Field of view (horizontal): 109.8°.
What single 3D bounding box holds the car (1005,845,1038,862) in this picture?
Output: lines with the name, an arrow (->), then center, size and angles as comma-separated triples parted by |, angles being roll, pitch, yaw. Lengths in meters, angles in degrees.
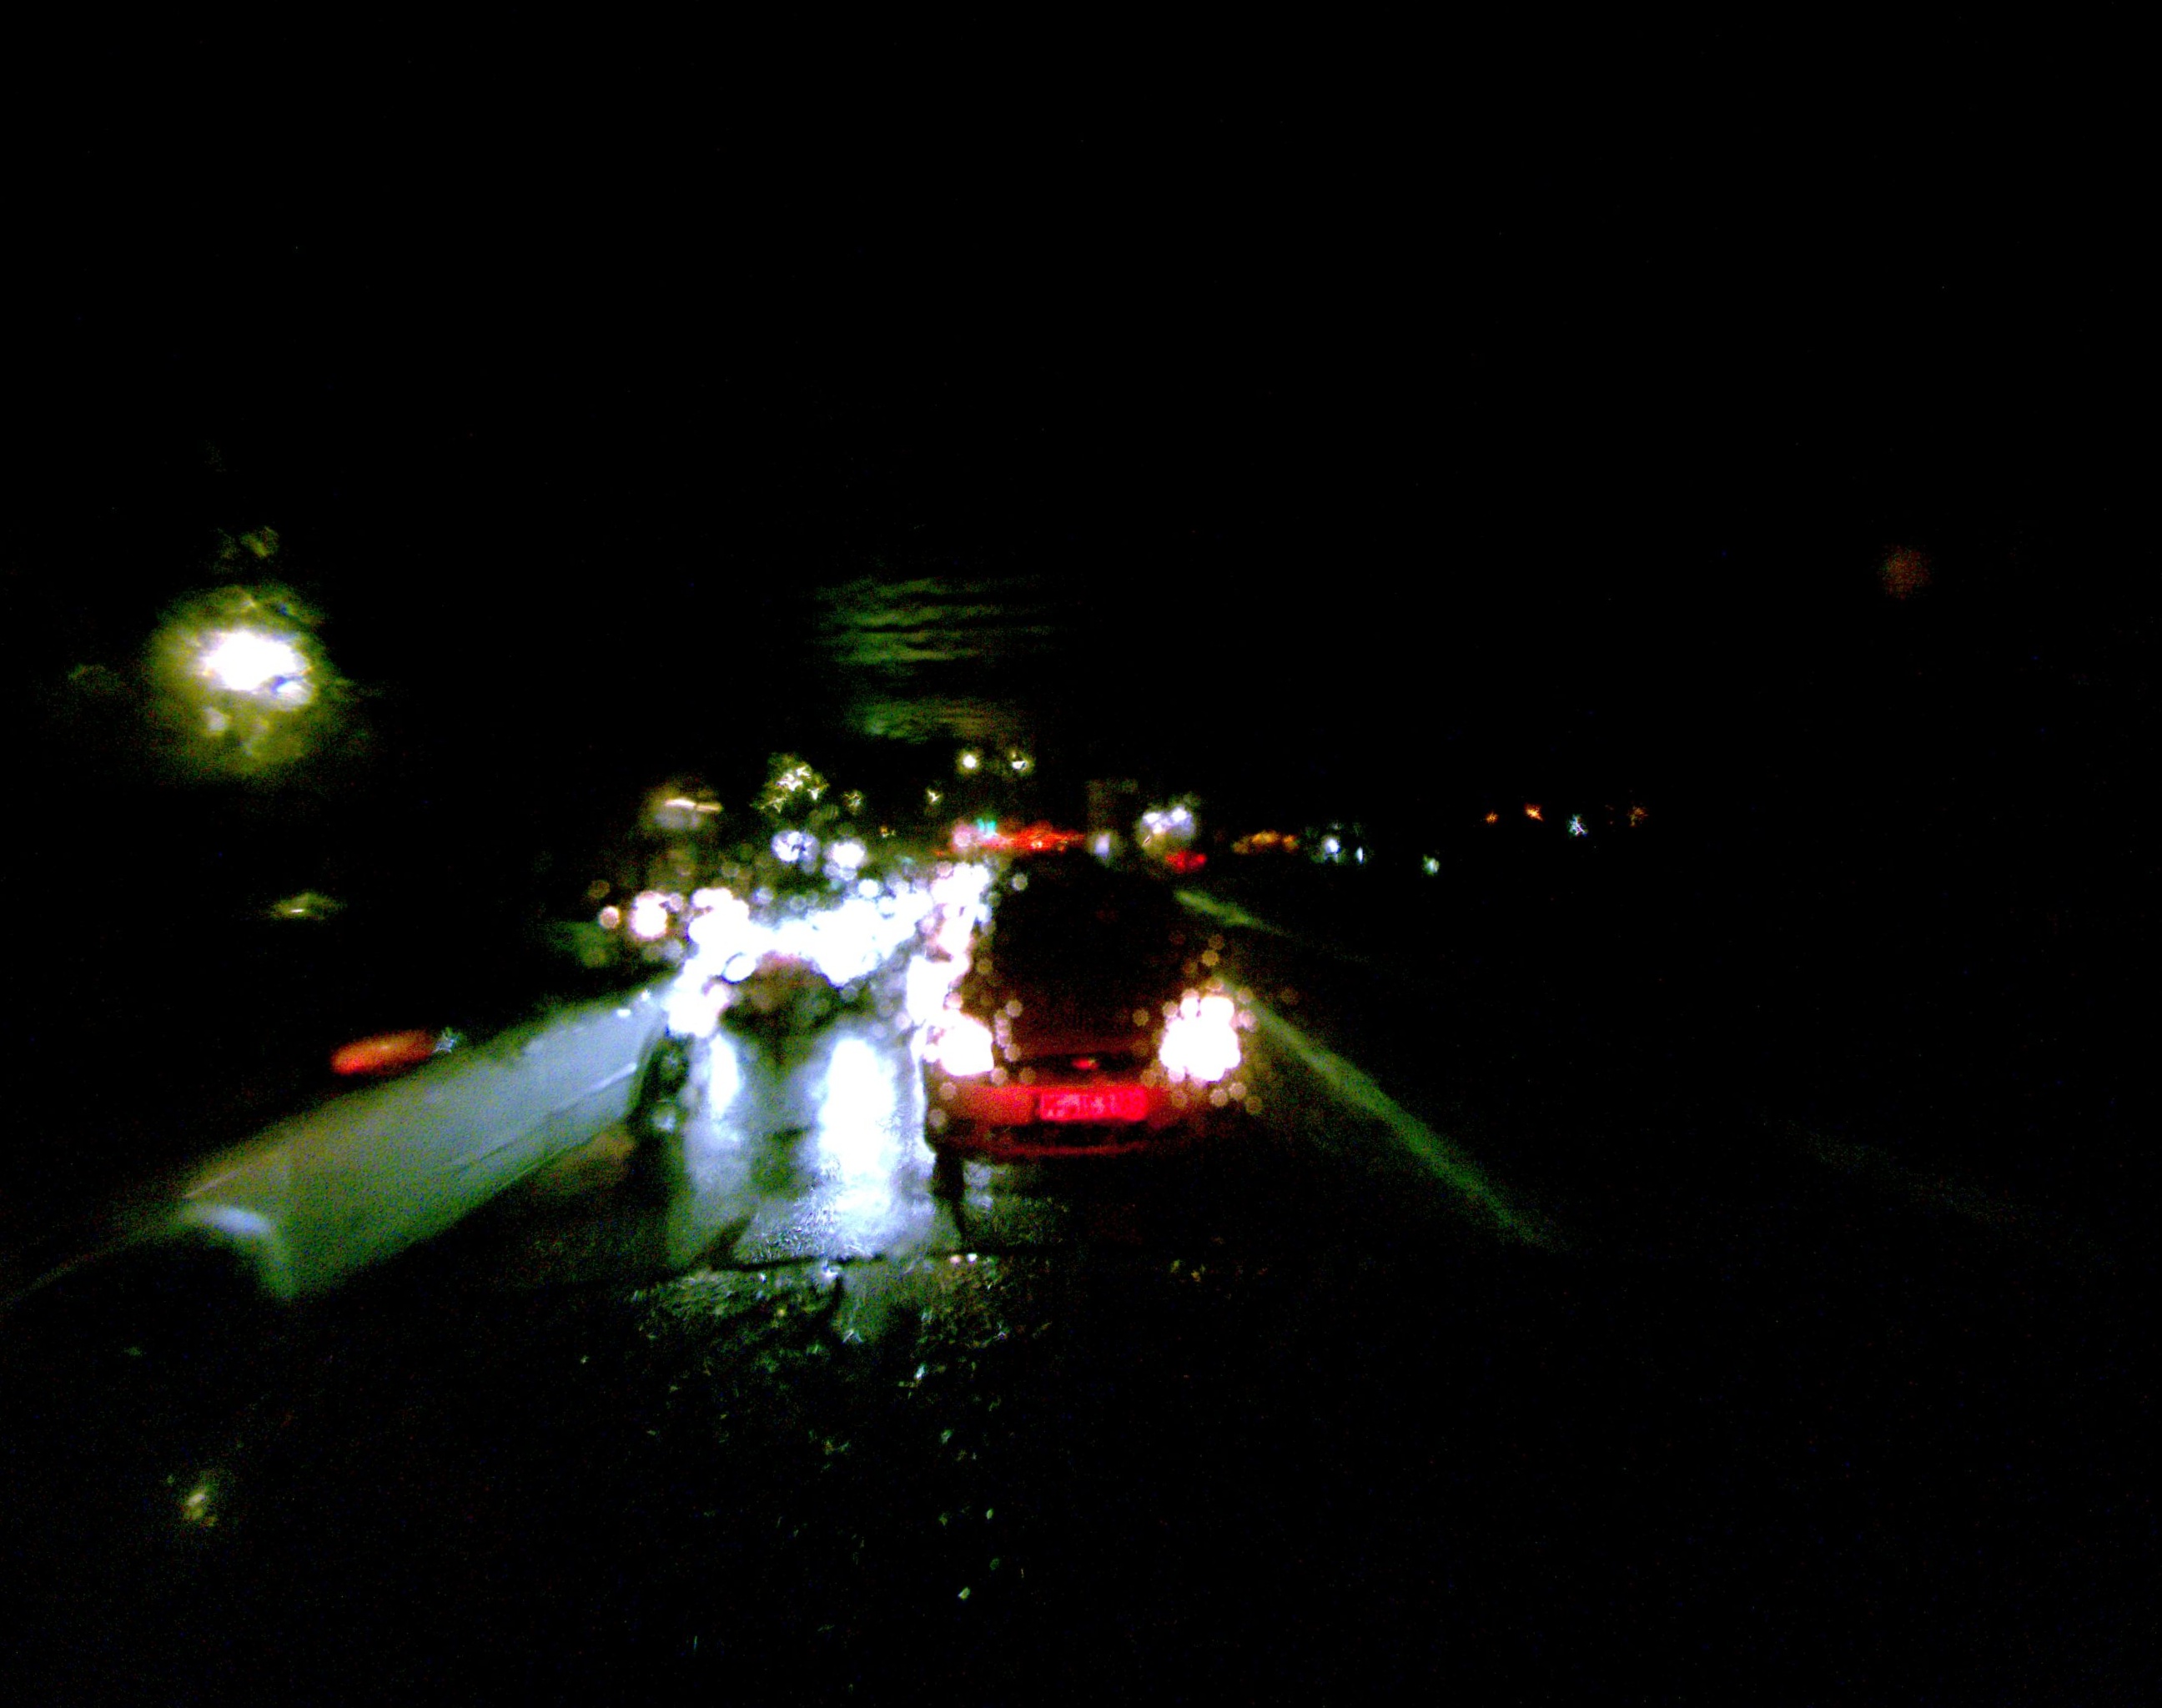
car -> -6.431, -0.025, 81.744 | 1.912, 1.731, 4.388 | -3, 1, -26

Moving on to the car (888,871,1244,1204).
car -> -0.040, 0.902, 5.501 | 1.603, 1.360, 3.942 | -2, 1, 1

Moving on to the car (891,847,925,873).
car -> -10.657, 0.317, 46.667 | 1.855, 1.423, 4.495 | -2, 2, -13

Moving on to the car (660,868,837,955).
car -> -6.767, 1.094, 16.086 | 1.853, 1.447, 4.501 | -1, 0, -2

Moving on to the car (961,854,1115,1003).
car -> -0.460, 0.845, 10.611 | 1.683, 1.591, 3.996 | -2, 1, 1

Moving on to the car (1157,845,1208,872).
car -> 6.260, 0.289, 47.363 | 1.913, 1.578, 4.077 | 1, -1, -12

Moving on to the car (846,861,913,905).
car -> -8.073, 1.114, 30.788 | 1.853, 1.423, 4.498 | -2, 2, -6

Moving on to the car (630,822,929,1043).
car -> -3.362, 0.742, 9.571 | 1.999, 2.076, 4.347 | -2, 1, -1

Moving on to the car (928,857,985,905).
car -> -4.374, 0.898, 27.193 | 1.683, 1.463, 3.998 | -2, 1, -5

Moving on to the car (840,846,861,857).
car -> -33.619, -0.330, 110.652 | 1.885, 1.463, 3.990 | -3, 1, -33

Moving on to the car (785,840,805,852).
car -> -48.615, -1.360, 129.117 | 1.974, 1.731, 4.906 | -3, 1, -34

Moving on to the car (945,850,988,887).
car -> -5.378, 0.652, 36.039 | 1.743, 1.581, 3.997 | -2, 1, -6

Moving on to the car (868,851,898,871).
car -> -16.197, 0.574, 62.056 | 1.884, 1.463, 3.993 | -3, 1, -21

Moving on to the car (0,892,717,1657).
car -> -3.180, 1.001, 2.672 | 1.792, 1.359, 3.999 | -2, 2, 0

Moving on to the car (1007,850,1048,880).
car -> -2.932, 0.577, 41.021 | 1.854, 1.476, 4.482 | -1, 0, -8

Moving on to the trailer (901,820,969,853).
trailer -> -21.243, -2.397, 109.281 | 3.976, 4.152, 13.884 | -3, 1, -35

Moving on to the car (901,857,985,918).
car -> -3.913, 0.903, 22.165 | 1.629, 1.494, 3.999 | -2, 1, 1

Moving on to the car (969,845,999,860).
car -> -11.828, -0.154, 92.480 | 1.974, 1.731, 4.907 | -3, 1, -29

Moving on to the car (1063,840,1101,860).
car -> 0.062, -0.357, 73.344 | 1.862, 1.739, 4.497 | -3, 1, -24

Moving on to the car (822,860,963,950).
car -> -3.734, 0.937, 15.733 | 1.869, 1.503, 3.766 | -2, 1, 1

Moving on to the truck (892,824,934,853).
truck -> -25.496, -2.299, 115.225 | 3.976, 4.152, 6.360 | -3, 1, -35

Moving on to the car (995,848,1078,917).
car -> -1.103, 0.639, 19.696 | 1.881, 1.534, 3.999 | -2, 1, -2
